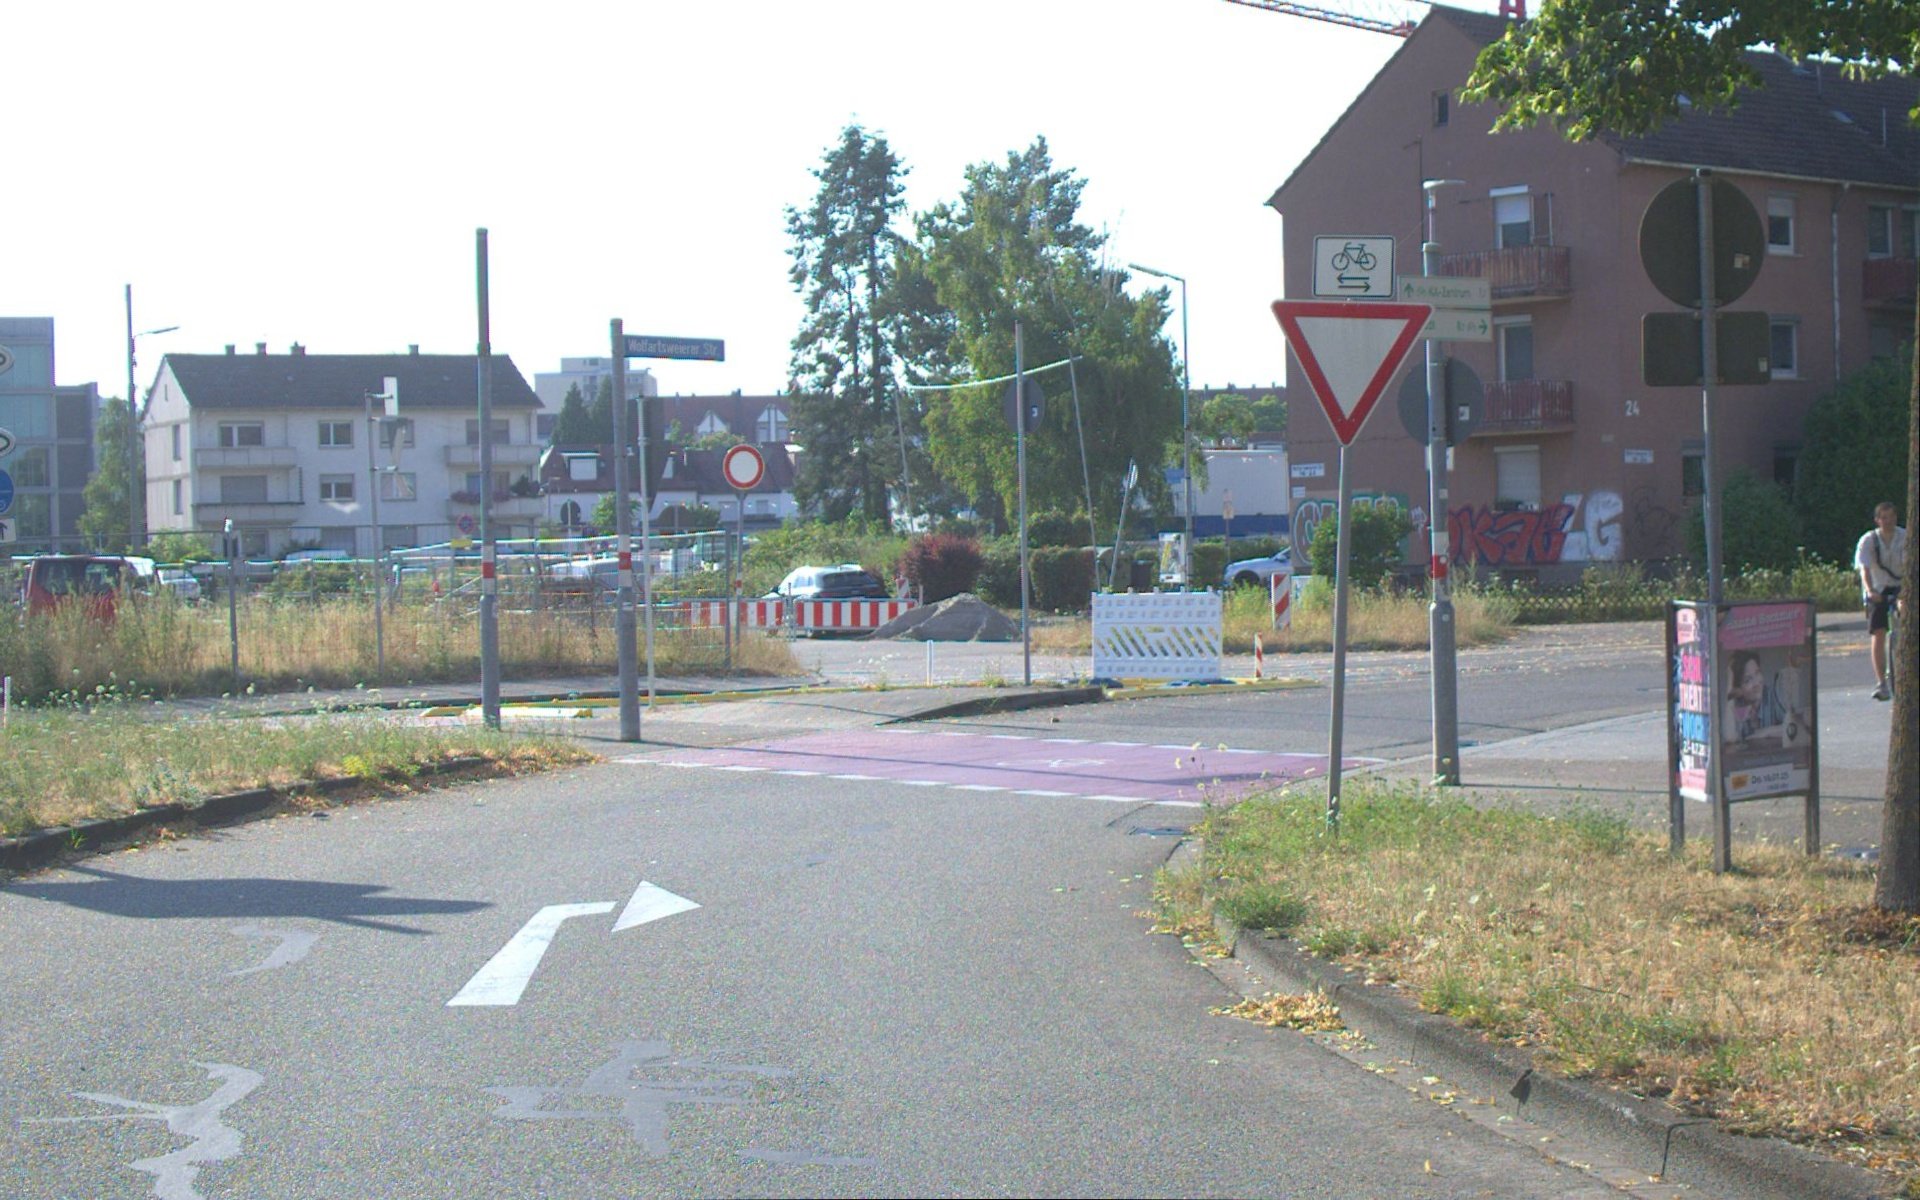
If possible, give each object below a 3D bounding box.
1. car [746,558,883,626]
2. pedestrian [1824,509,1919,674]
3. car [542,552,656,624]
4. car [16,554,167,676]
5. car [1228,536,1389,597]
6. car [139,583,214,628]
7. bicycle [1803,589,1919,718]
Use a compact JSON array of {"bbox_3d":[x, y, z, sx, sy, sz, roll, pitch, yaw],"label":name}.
[{"bbox_3d":[-3.534,-0.196,83.019,1.993,1.546,4.001,-2,1,-23],"label":"car"},{"bbox_3d":[7.987,-0.075,29.760,0.652,1.387,0.766,-3,0,41],"label":"pedestrian"},{"bbox_3d":[-10.240,-0.340,97.338,1.862,1.941,4.000,-2,1,-27],"label":"car"},{"bbox_3d":[-15.272,0.222,60.688,1.993,2.007,5.314,-1,1,-8],"label":"car"},{"bbox_3d":[9.366,-0.896,92.190,3.990,1.525,1.999,-1,1,16],"label":"car"},{"bbox_3d":[-32.661,0.214,143.240,2.145,1.831,4.362,-1,1,-25],"label":"car"},{"bbox_3d":[7.983,0.450,29.825,0.534,1.052,1.909,0,1,39],"label":"bicycle"}]
